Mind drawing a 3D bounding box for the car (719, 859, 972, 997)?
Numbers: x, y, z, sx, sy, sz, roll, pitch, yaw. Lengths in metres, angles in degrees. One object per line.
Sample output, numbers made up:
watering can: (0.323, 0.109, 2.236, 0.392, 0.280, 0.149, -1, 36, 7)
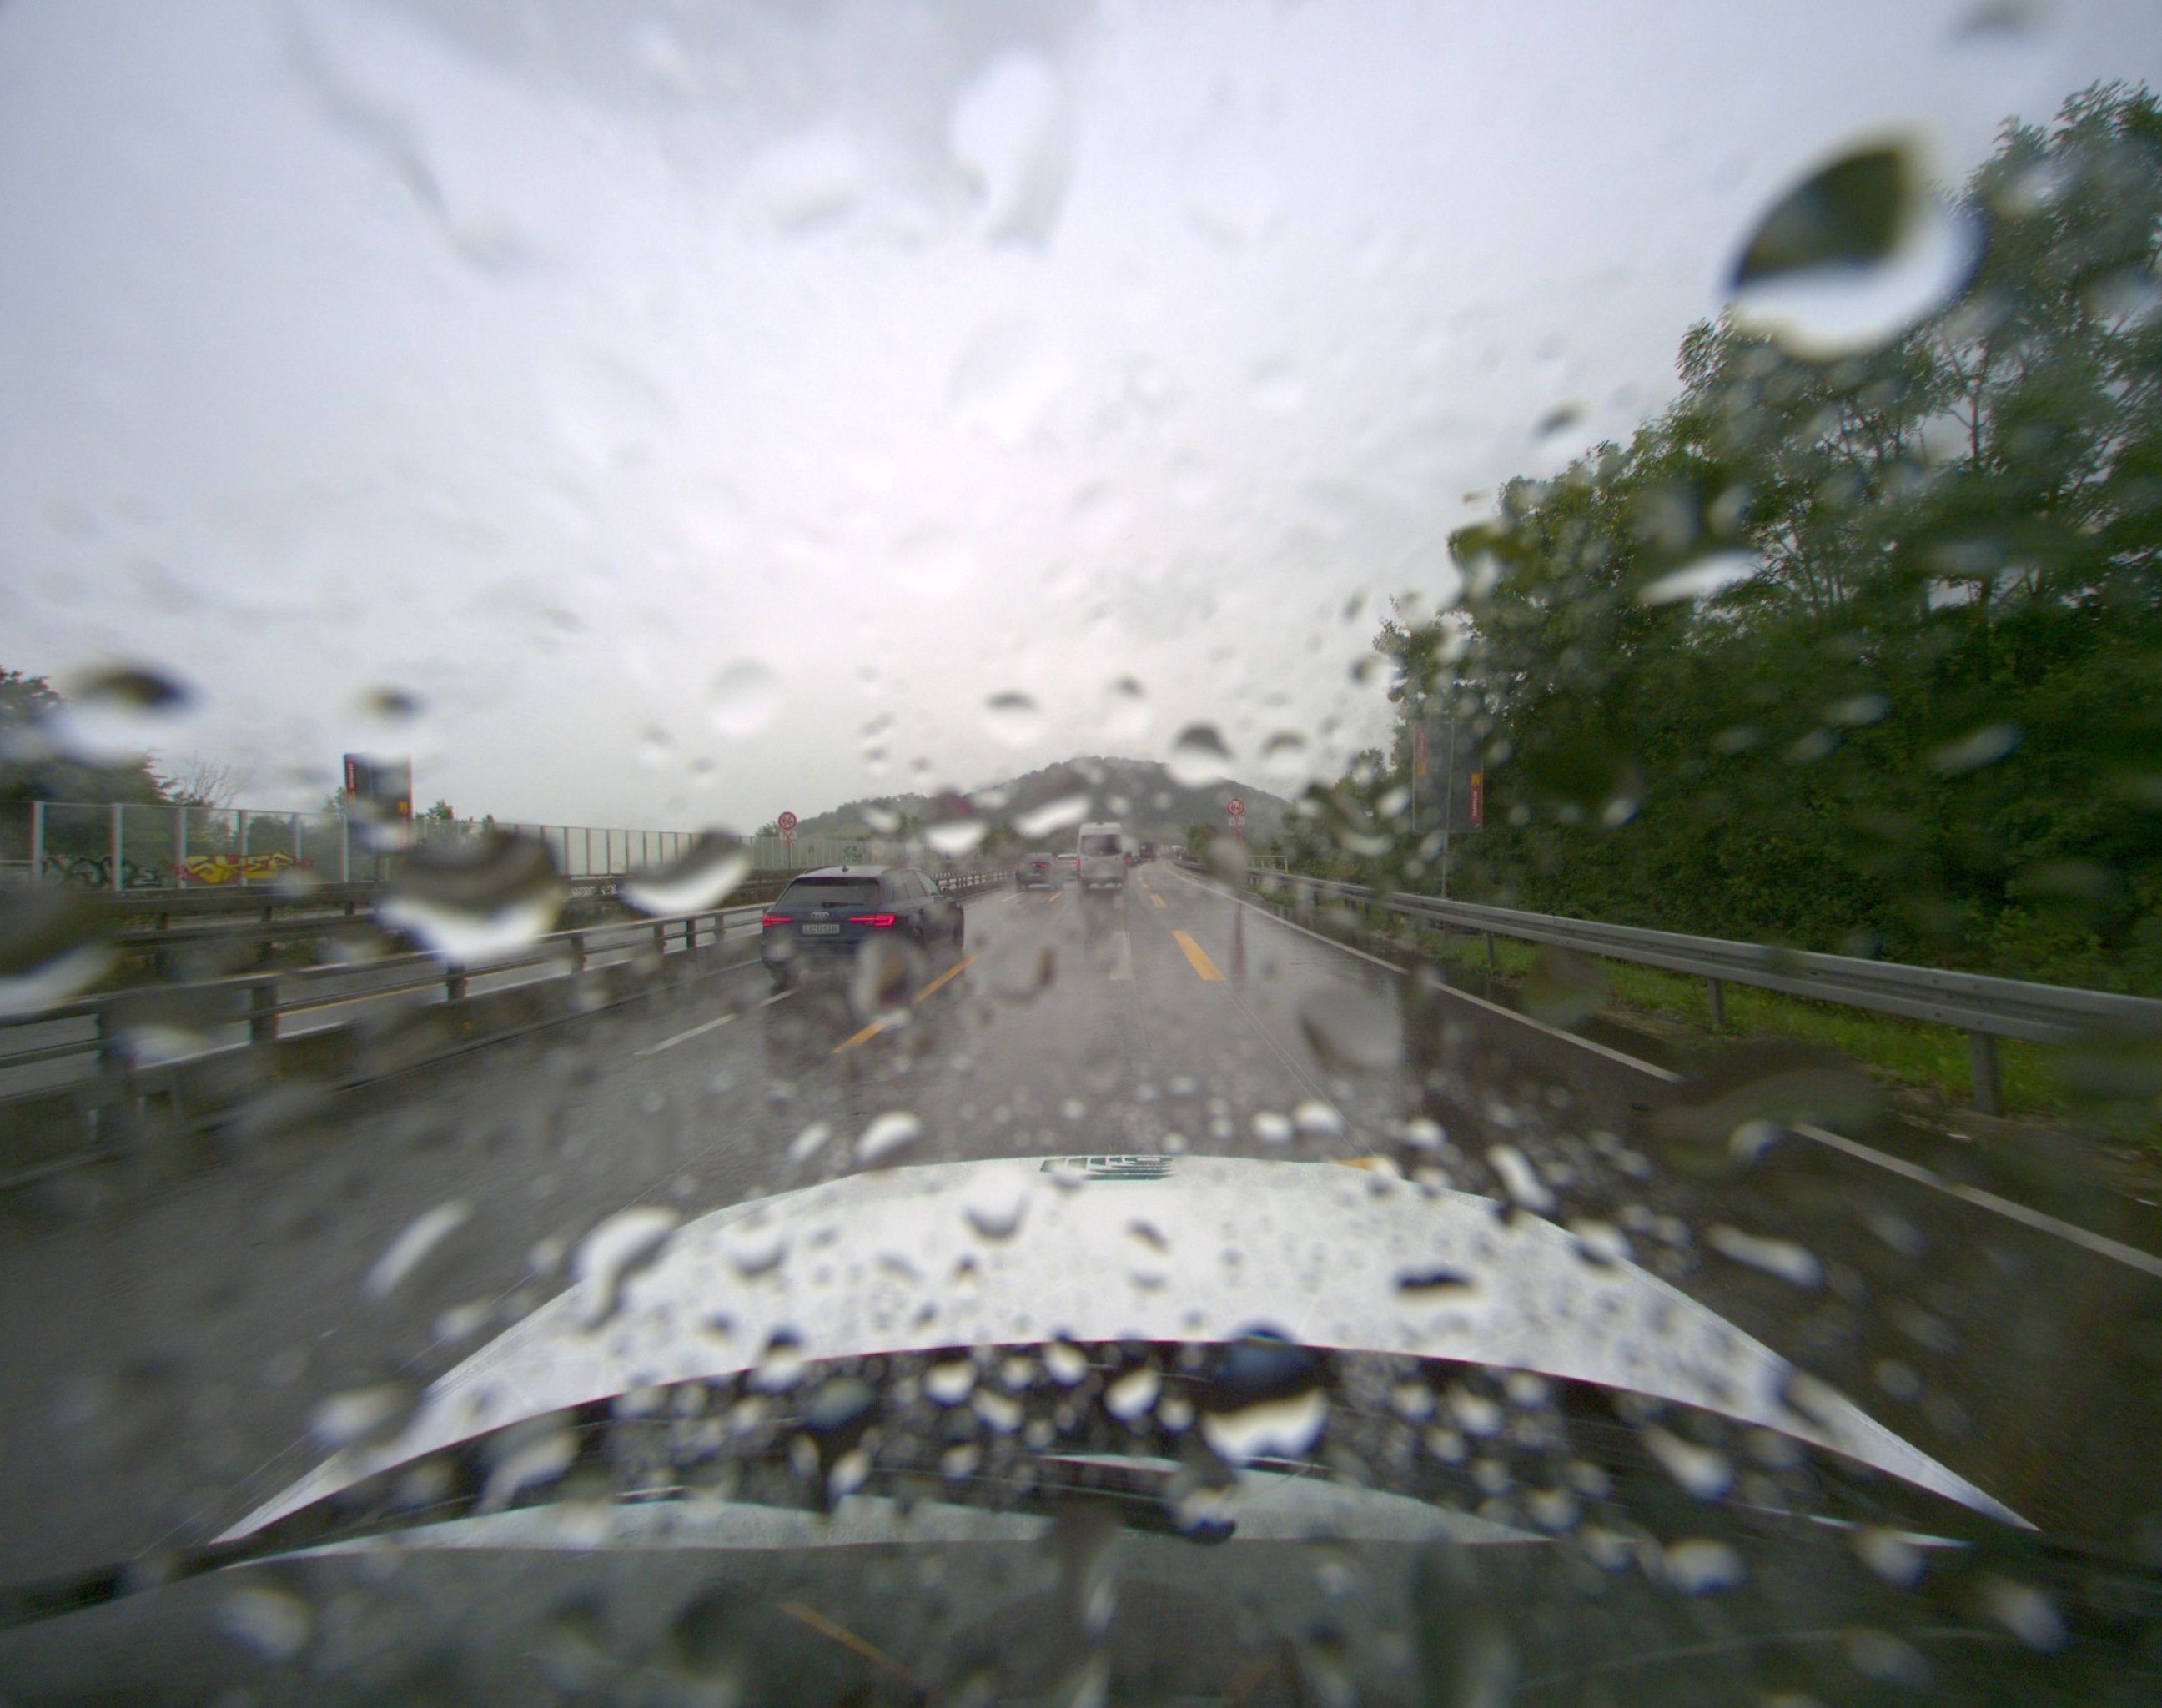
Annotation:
car: (-2.895, 0.838, 11.241, 1.986, 1.498, 4.633, -1, -1, 2)

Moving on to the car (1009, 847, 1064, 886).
car: (-1.896, 0.541, 35.974, 1.986, 1.585, 4.415, 0, -1, 2)

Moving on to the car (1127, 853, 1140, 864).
car: (7.568, 0.651, 116.901, 1.765, 1.475, 4.006, 0, -1, 6)

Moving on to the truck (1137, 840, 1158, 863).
truck: (12.946, -0.387, 158.619, 3.561, 4.406, 9.644, 0, -1, 8)

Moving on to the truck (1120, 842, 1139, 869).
truck: (5.864, 0.214, 97.887, 1.984, 3.109, 8.510, 0, -1, 5)

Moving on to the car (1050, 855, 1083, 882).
car: (-0.873, 0.907, 51.679, 1.987, 1.617, 4.794, 0, -1, -1)

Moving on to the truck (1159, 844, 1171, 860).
truck: (23.948, -0.605, 232.512, 3.019, 4.406, 9.645, 0, -1, 8)

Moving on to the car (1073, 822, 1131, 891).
car: (0.882, 0.122, 33.072, 2.136, 2.571, 5.392, 0, -1, 2)
